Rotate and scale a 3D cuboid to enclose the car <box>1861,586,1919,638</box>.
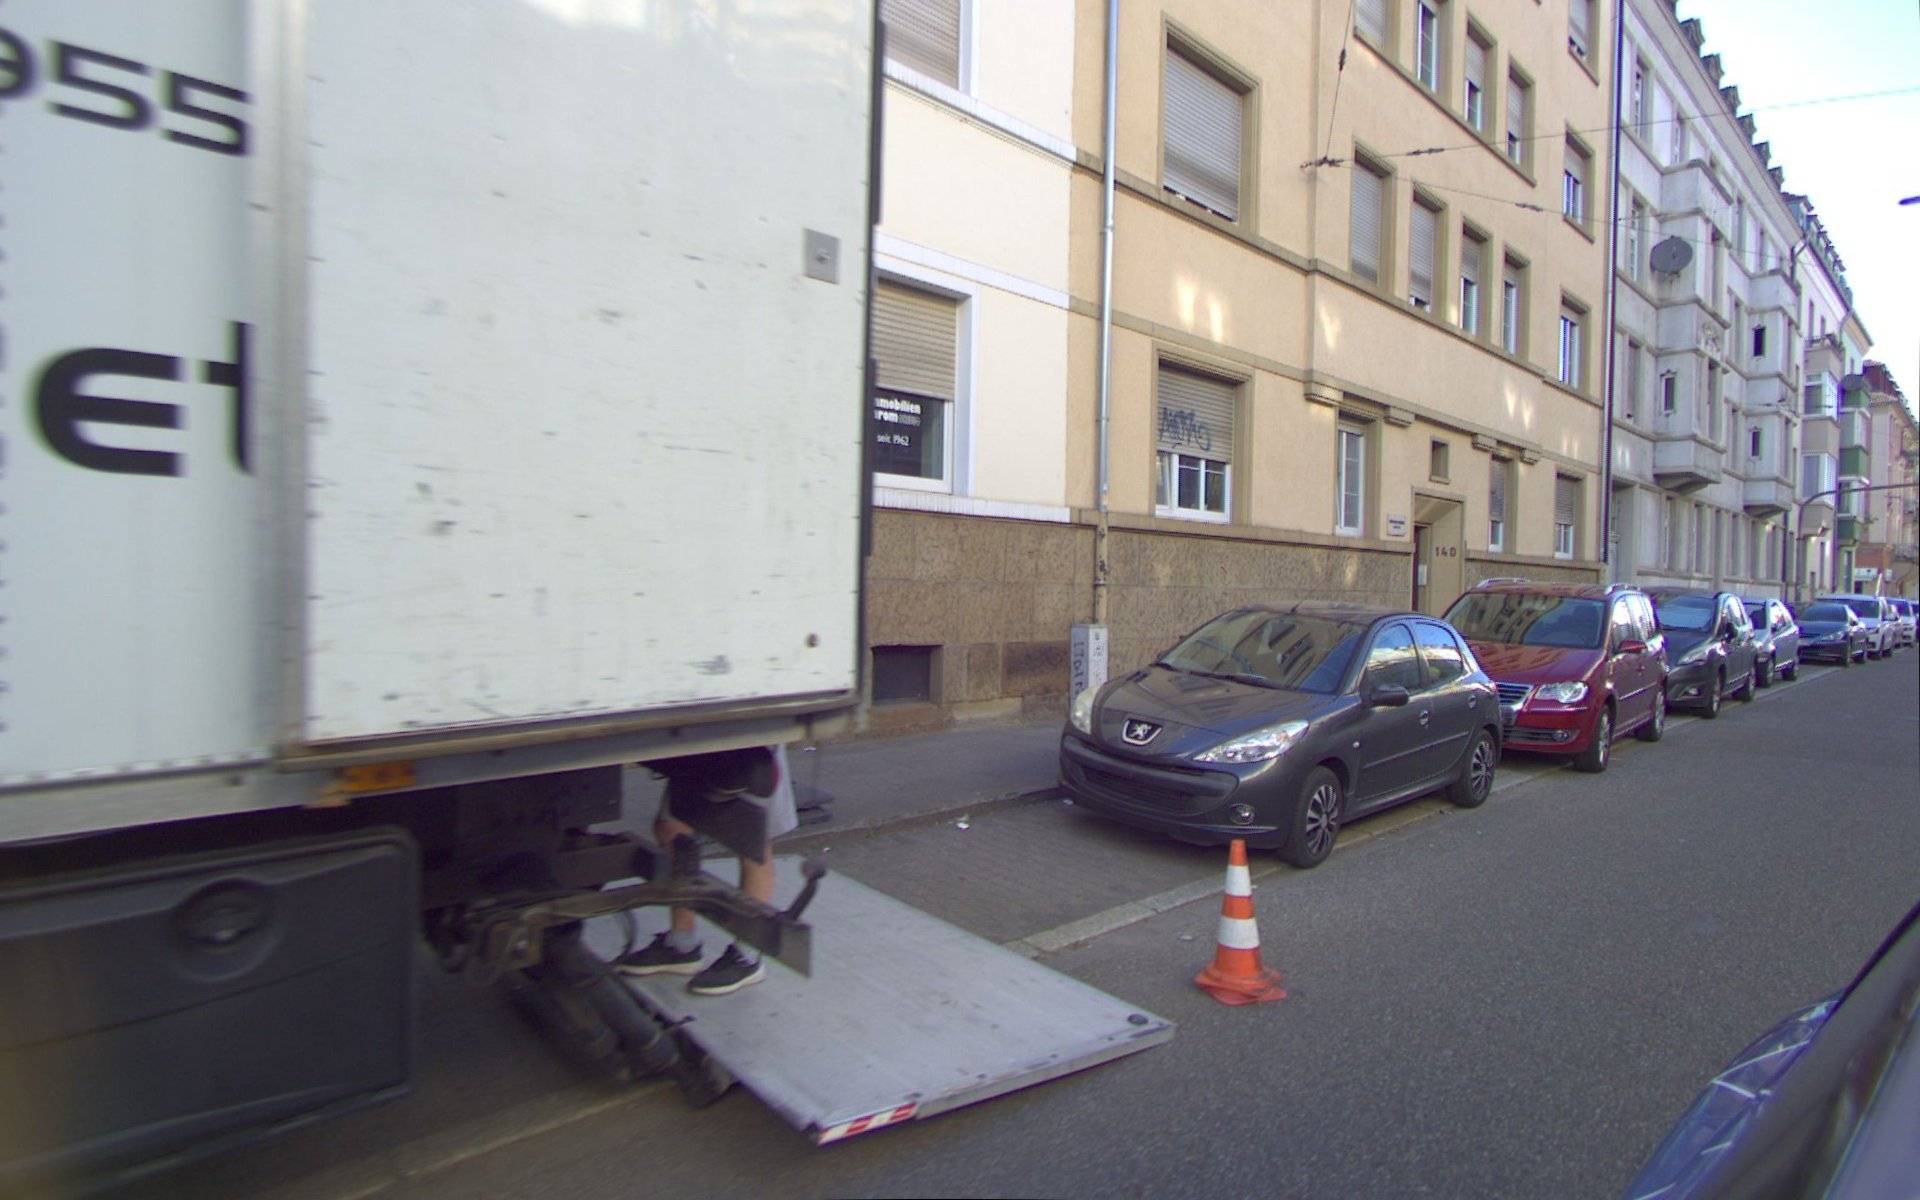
[{"bbox_3d":[33.783,0.404,36.203,4.113,1.719,1.703,0,3,-40],"label":"car"}]

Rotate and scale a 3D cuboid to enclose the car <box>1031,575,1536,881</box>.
[{"bbox_3d":[2.389,0.624,6.936,3.815,1.481,1.585,0,3,-43],"label":"car"}]

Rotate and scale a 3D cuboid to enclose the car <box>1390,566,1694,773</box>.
[{"bbox_3d":[5.985,0.534,10.177,1.593,1.628,4.178,4,3,45],"label":"car"}]

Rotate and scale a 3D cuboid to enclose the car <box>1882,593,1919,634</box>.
[{"bbox_3d":[37.855,0.533,40.005,3.796,1.523,1.701,0,1,-42],"label":"car"}]

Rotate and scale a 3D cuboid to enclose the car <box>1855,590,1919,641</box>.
[{"bbox_3d":[30.809,0.477,33.252,3.306,1.502,1.570,0,4,-41],"label":"car"}]

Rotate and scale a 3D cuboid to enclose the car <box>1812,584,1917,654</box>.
[{"bbox_3d":[25.091,0.466,28.021,4.512,1.714,1.711,0,3,-43],"label":"car"}]

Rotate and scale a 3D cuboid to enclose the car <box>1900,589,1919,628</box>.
[{"bbox_3d":[41.638,0.353,43.325,3.893,1.610,1.701,0,1,-43],"label":"car"}]

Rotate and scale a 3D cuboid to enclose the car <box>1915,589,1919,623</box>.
[{"bbox_3d":[46.353,0.344,47.552,3.295,1.609,1.703,0,4,-41],"label":"car"}]

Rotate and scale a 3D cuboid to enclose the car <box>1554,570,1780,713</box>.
[{"bbox_3d":[10.072,0.478,14.289,4.294,1.672,1.792,0,3,-44],"label":"car"}]

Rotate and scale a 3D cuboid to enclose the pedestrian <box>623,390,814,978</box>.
[{"bbox_3d":[-0.823,0.252,3.419,0.408,1.797,0.514,1,1,-40],"label":"pedestrian"}]

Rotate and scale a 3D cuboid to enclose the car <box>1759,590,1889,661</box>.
[{"bbox_3d":[20.531,0.560,23.999,4.132,1.470,1.703,0,3,-41],"label":"car"}]

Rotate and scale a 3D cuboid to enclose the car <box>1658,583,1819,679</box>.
[{"bbox_3d":[13.836,0.490,17.928,3.419,1.481,1.611,0,3,-42],"label":"car"}]
